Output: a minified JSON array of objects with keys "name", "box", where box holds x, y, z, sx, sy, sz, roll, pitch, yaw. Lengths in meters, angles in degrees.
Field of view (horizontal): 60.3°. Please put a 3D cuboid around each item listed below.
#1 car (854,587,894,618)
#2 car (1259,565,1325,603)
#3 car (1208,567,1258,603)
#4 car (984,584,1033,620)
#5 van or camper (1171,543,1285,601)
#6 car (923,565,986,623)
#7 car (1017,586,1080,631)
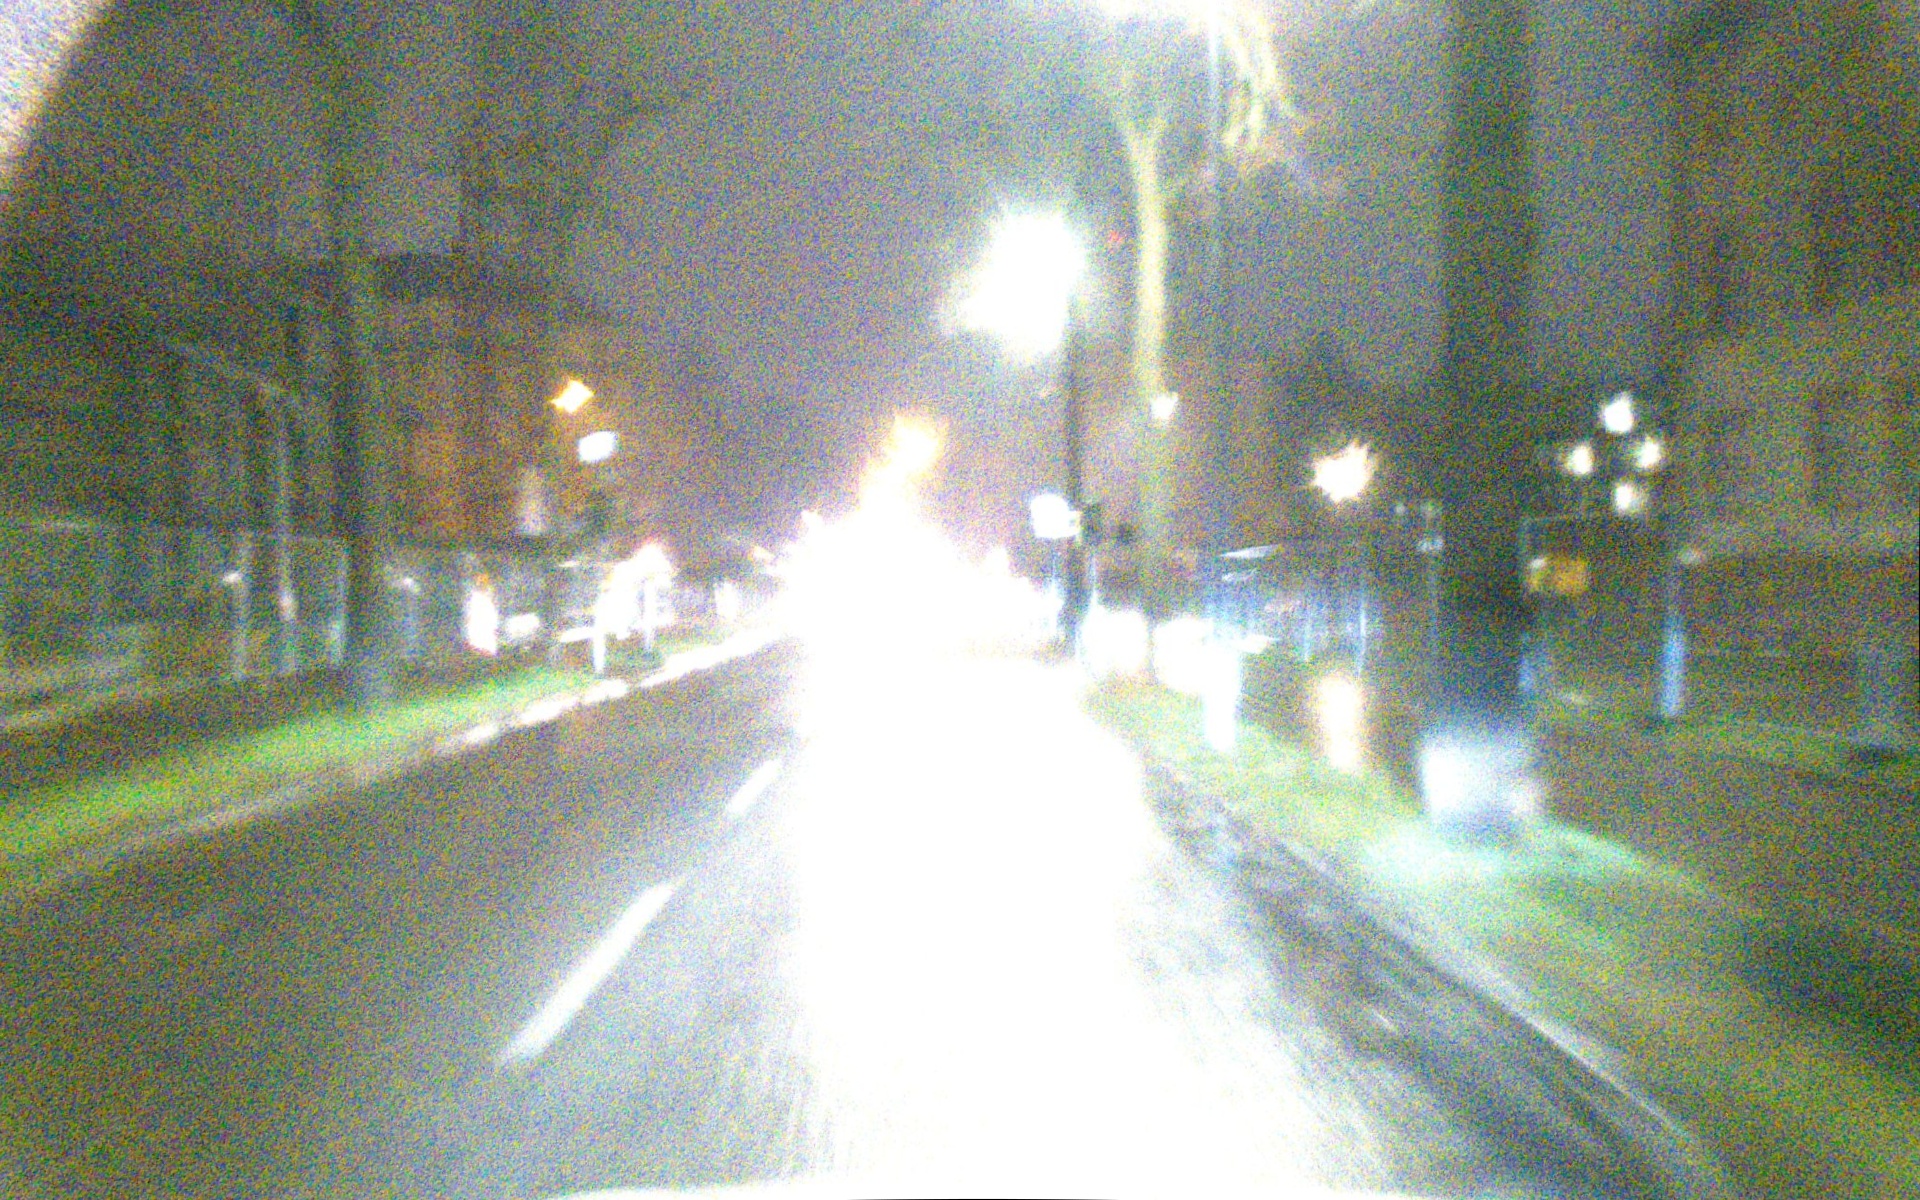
[{"name":"car","box":[-4.223,0.084,81.904,1.709,1.458,4.000,-2,0,0]},{"name":"car","box":[14.607,-0.727,72.998,1.792,1.574,4.865,-1,1,-2]},{"name":"car","box":[12.094,-0.677,73.374,1.531,1.495,3.407,-1,1,-2]},{"name":"car","box":[2.109,0.064,73.043,1.679,1.514,4.433,-2,1,-4]},{"name":"van or camper","box":[12.496,-1.312,77.285,4.959,2.571,2.171,-1,1,0]},{"name":"car","box":[-0.174,-0.227,53.406,1.953,1.713,4.001,0,2,0]},{"name":"car","box":[3.279,0.284,62.133,1.754,1.474,4.787,-3,1,-4]}]
